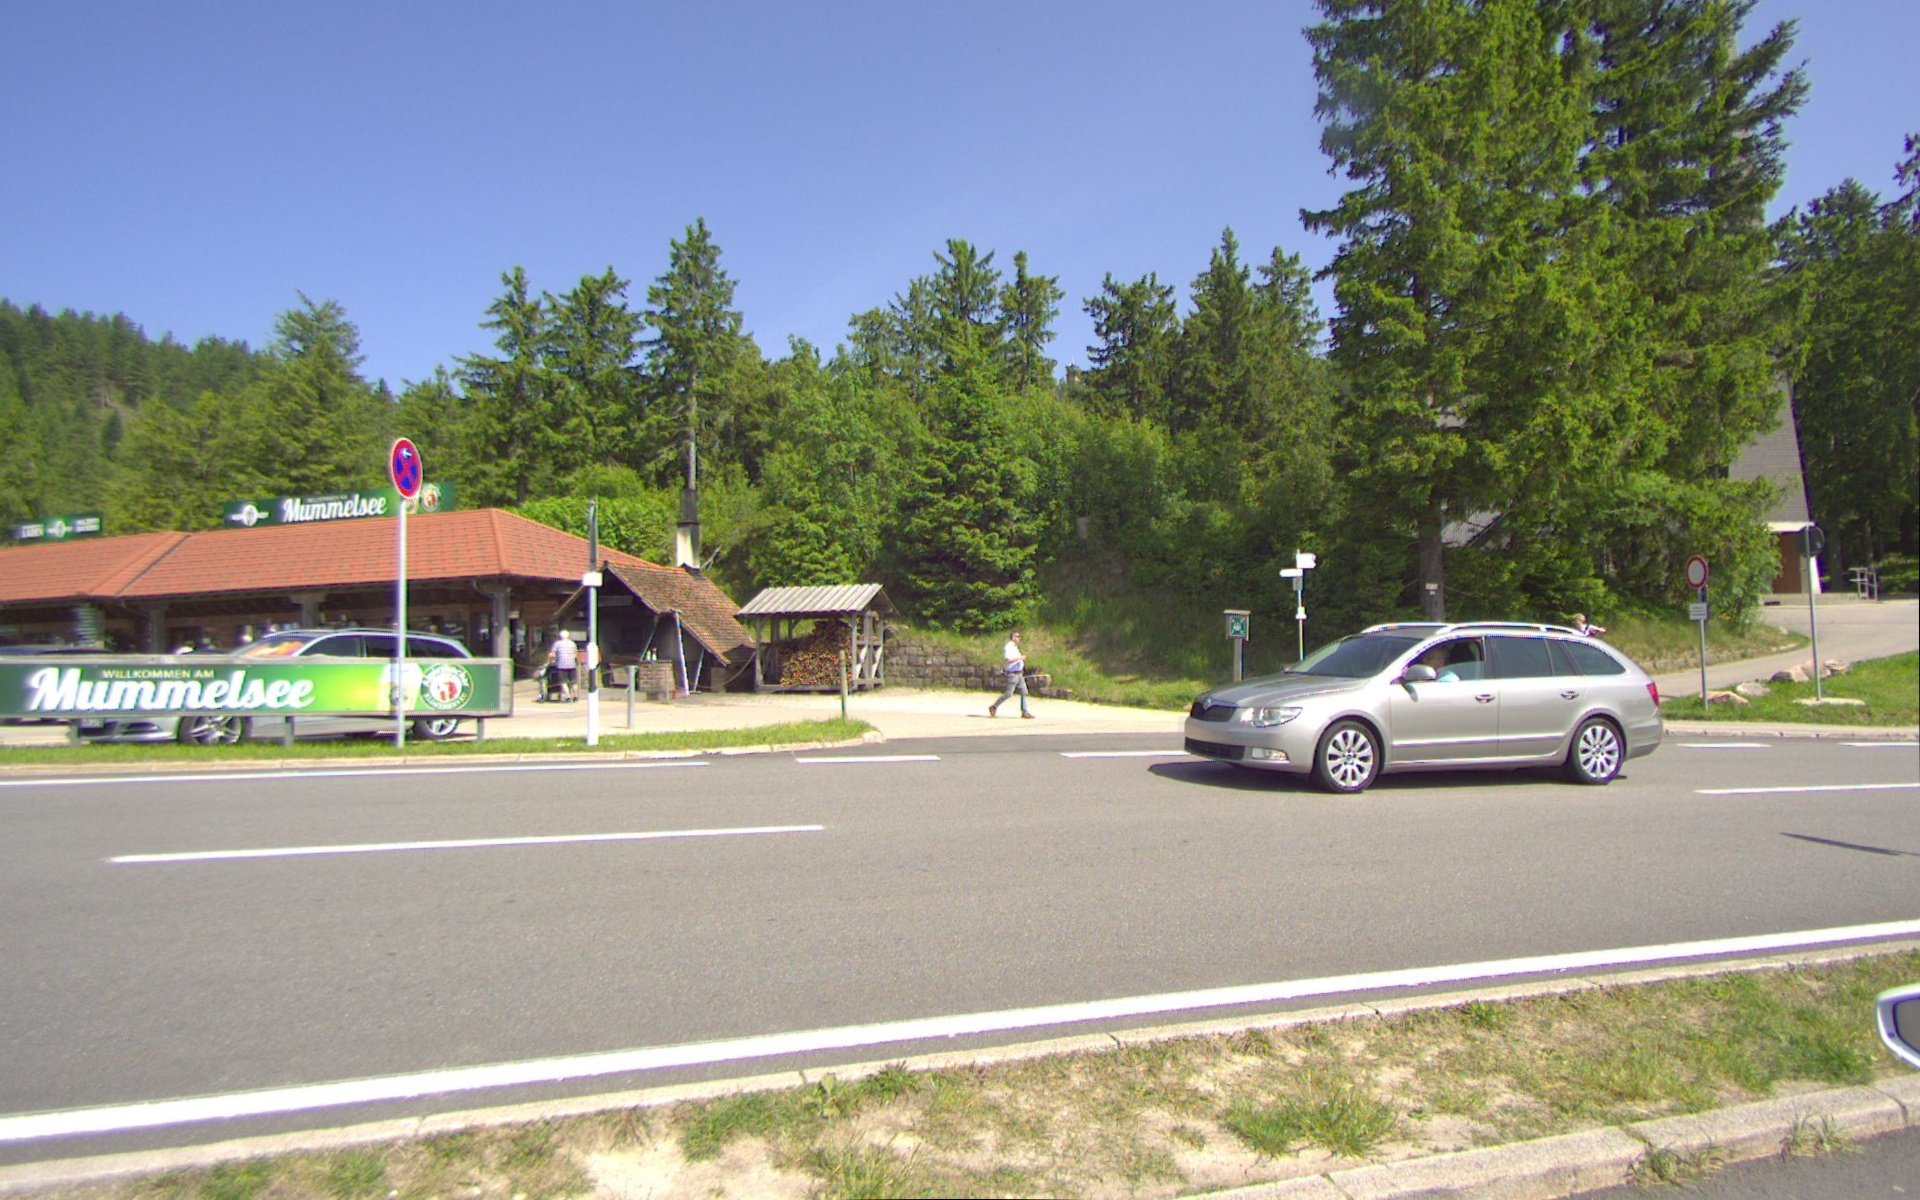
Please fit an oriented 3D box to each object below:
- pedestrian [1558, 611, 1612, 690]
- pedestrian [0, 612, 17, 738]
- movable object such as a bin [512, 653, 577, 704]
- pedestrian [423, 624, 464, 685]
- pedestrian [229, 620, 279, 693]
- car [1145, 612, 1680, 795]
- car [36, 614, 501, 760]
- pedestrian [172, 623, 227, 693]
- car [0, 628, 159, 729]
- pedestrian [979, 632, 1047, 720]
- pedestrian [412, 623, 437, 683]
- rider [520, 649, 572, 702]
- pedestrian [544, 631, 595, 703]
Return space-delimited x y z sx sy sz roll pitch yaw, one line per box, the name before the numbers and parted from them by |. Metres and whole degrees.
pedestrian | 13.732 1.117 22.087 0.671 1.703 0.719 1 -2 -17
pedestrian | -13.065 0.977 13.120 0.830 1.657 0.746 0 -3 20
movable object such as a bin | -10.376 1.942 25.071 1.196 1.204 0.981 -1 -3 33
pedestrian | -15.137 1.598 29.454 0.790 1.759 0.747 -1 -3 33
pedestrian | -20.100 1.586 28.600 0.909 2.040 0.723 0 -2 18
car | 4.335 0.916 9.777 4.636 1.494 1.879 1 -1 -16
car | -8.140 1.002 12.419 1.689 1.449 4.501 -1 -3 23
pedestrian | -22.625 1.701 29.890 0.945 2.040 0.856 0 -2 18
car | -17.507 1.448 19.052 4.017 1.738 1.920 -1 -3 24
pedestrian | 1.078 1.513 20.323 1.139 1.720 0.979 -1 -3 20
pedestrian | -15.914 1.575 29.880 0.547 1.759 0.669 1 -2 -22
rider | -10.321 1.872 25.056 0.894 1.291 0.837 -1 -3 33
pedestrian | -9.522 1.626 24.520 0.790 1.721 0.837 -1 -3 33
